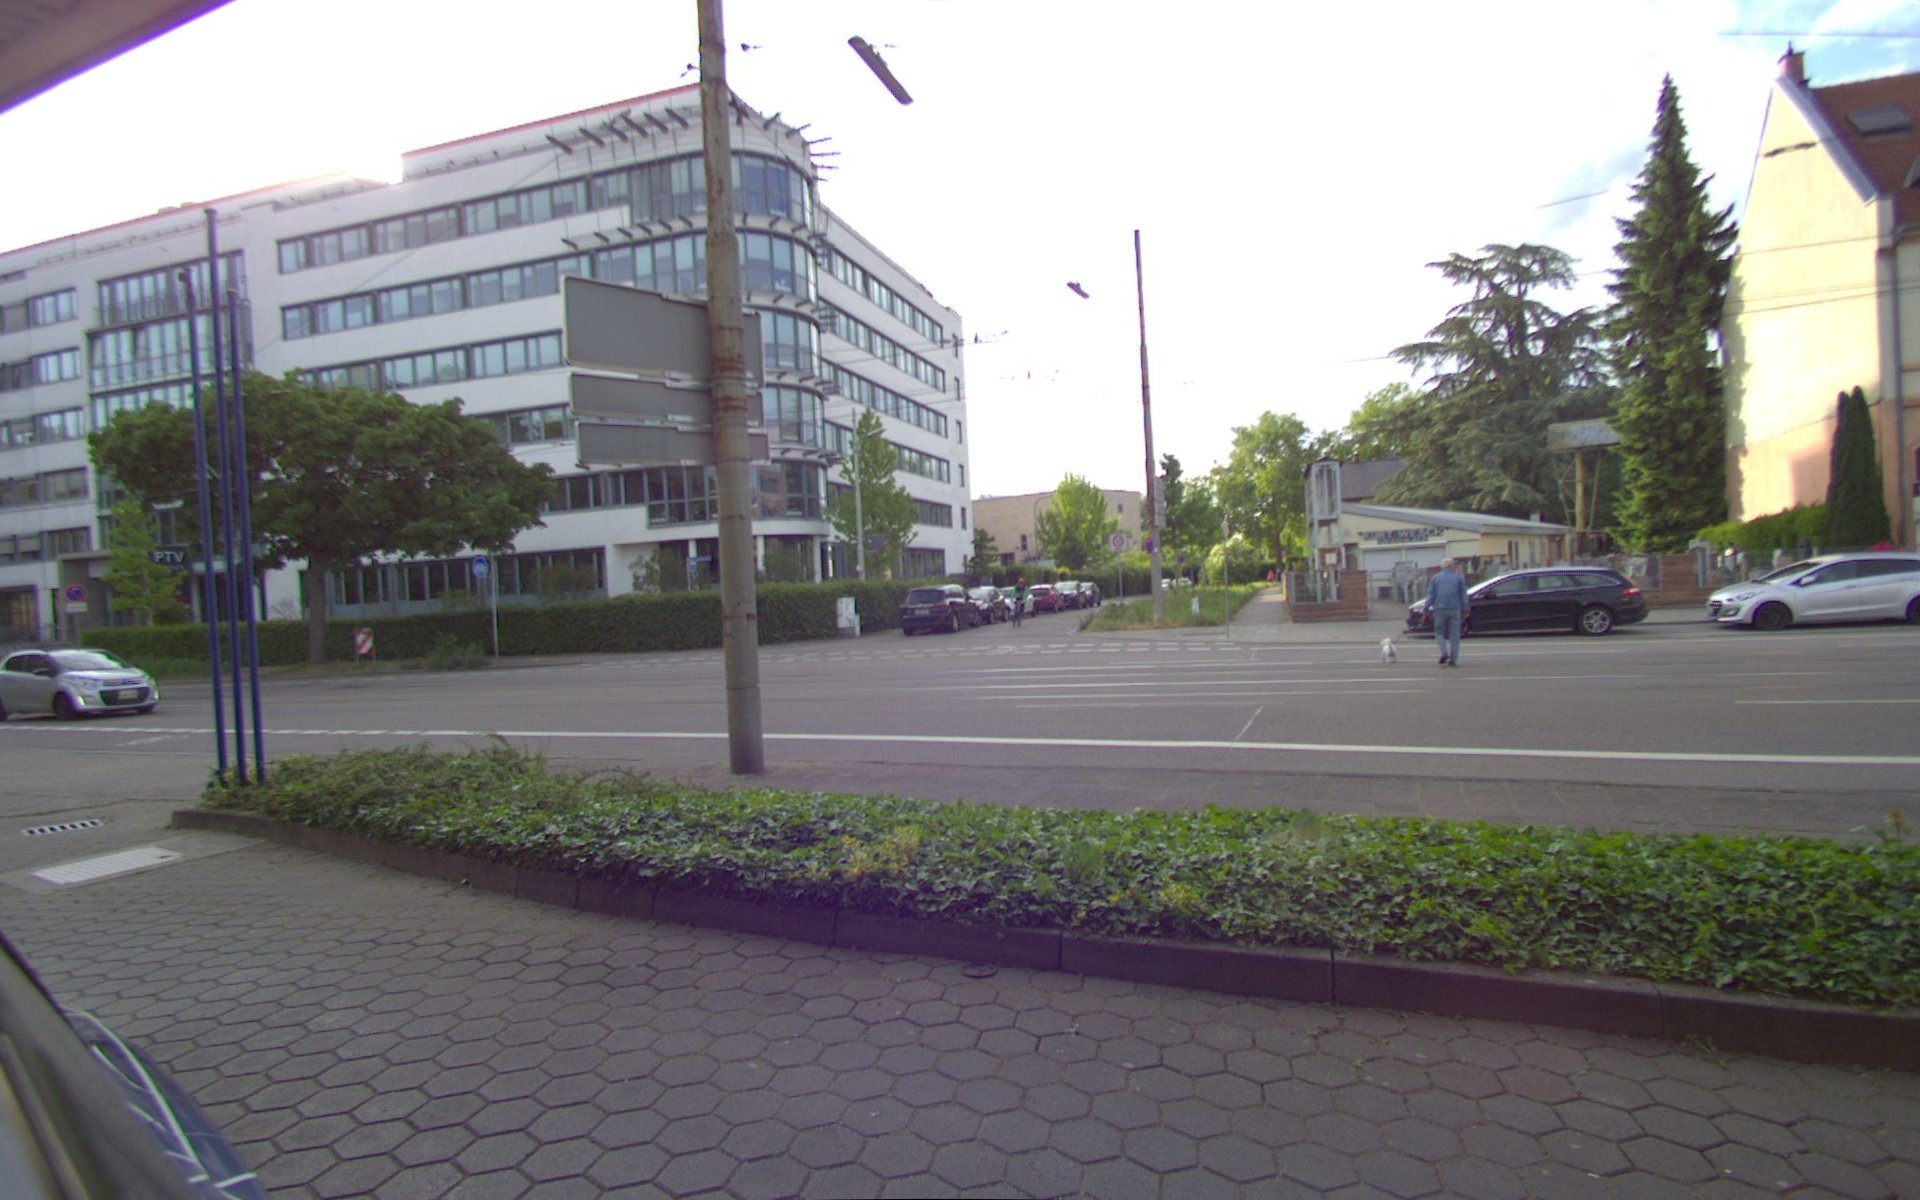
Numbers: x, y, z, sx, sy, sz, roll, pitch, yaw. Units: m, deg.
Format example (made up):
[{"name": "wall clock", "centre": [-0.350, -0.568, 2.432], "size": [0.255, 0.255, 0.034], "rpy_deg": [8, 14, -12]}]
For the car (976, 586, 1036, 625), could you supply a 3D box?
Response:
[{"name": "car", "centre": [2.144, 0.209, 45.781], "size": [1.929, 1.530, 4.274], "rpy_deg": [-3, 0, 13]}]

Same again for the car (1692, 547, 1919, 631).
[{"name": "car", "centre": [18.424, -0.245, 21.377], "size": [4.424, 1.494, 1.713], "rpy_deg": [-3, 1, 21]}]

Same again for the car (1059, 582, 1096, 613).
[{"name": "car", "centre": [7.290, -0.166, 62.490], "size": [1.731, 1.748, 4.030], "rpy_deg": [-3, 0, 13]}]

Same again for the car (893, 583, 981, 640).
[{"name": "car", "centre": [-0.724, 0.356, 35.411], "size": [1.994, 1.704, 4.274], "rpy_deg": [-3, 1, 13]}]

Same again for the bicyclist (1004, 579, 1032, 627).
[{"name": "bicyclist", "centre": [2.081, 0.084, 36.337], "size": [0.856, 1.617, 1.026], "rpy_deg": [-3, 3, 8]}]

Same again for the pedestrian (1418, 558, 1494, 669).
[{"name": "pedestrian", "centre": [7.864, 0.200, 16.063], "size": [0.999, 1.680, 0.962], "rpy_deg": [-2, 1, 27]}]

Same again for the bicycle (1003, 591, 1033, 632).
[{"name": "bicycle", "centre": [2.112, 0.389, 36.435], "size": [0.856, 1.320, 1.915], "rpy_deg": [-3, 3, 8]}]

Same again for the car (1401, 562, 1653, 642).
[{"name": "car", "centre": [12.913, 0.053, 23.438], "size": [4.742, 1.511, 2.001], "rpy_deg": [-3, 1, 21]}]

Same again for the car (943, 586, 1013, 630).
[{"name": "car", "centre": [0.795, 0.286, 40.970], "size": [1.929, 1.551, 4.274], "rpy_deg": [-3, 0, 13]}]

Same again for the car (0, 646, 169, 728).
[{"name": "car", "centre": [-18.504, 1.806, 21.012], "size": [3.401, 1.443, 1.679], "rpy_deg": [-3, 1, 20]}]

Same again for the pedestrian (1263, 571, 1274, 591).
[{"name": "pedestrian", "centre": [29.641, -1.779, 97.319], "size": [0.899, 1.865, 0.942], "rpy_deg": [-3, -1, 20]}]

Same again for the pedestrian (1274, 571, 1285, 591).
[{"name": "pedestrian", "centre": [30.639, -1.847, 97.101], "size": [0.899, 1.865, 0.942], "rpy_deg": [-3, -1, 20]}]

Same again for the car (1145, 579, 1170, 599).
[{"name": "car", "centre": [19.699, -1.091, 100.787], "size": [1.849, 1.748, 4.247], "rpy_deg": [-3, 1, 19]}]

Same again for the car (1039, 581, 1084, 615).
[{"name": "car", "centre": [5.836, -0.155, 57.716], "size": [1.929, 1.748, 4.512], "rpy_deg": [-3, 0, 13]}]

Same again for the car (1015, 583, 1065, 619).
[{"name": "car", "centre": [4.177, 0.018, 52.487], "size": [1.929, 1.650, 4.274], "rpy_deg": [-3, 0, 13]}]

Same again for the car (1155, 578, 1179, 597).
[{"name": "car", "centre": [21.691, -1.342, 106.157], "size": [1.849, 1.748, 4.246], "rpy_deg": [-3, 1, 19]}]

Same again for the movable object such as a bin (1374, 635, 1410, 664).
[{"name": "movable object such as a bin", "centre": [7.404, 0.841, 17.358], "size": [0.477, 0.424, 0.676], "rpy_deg": [-3, 1, 18]}]
